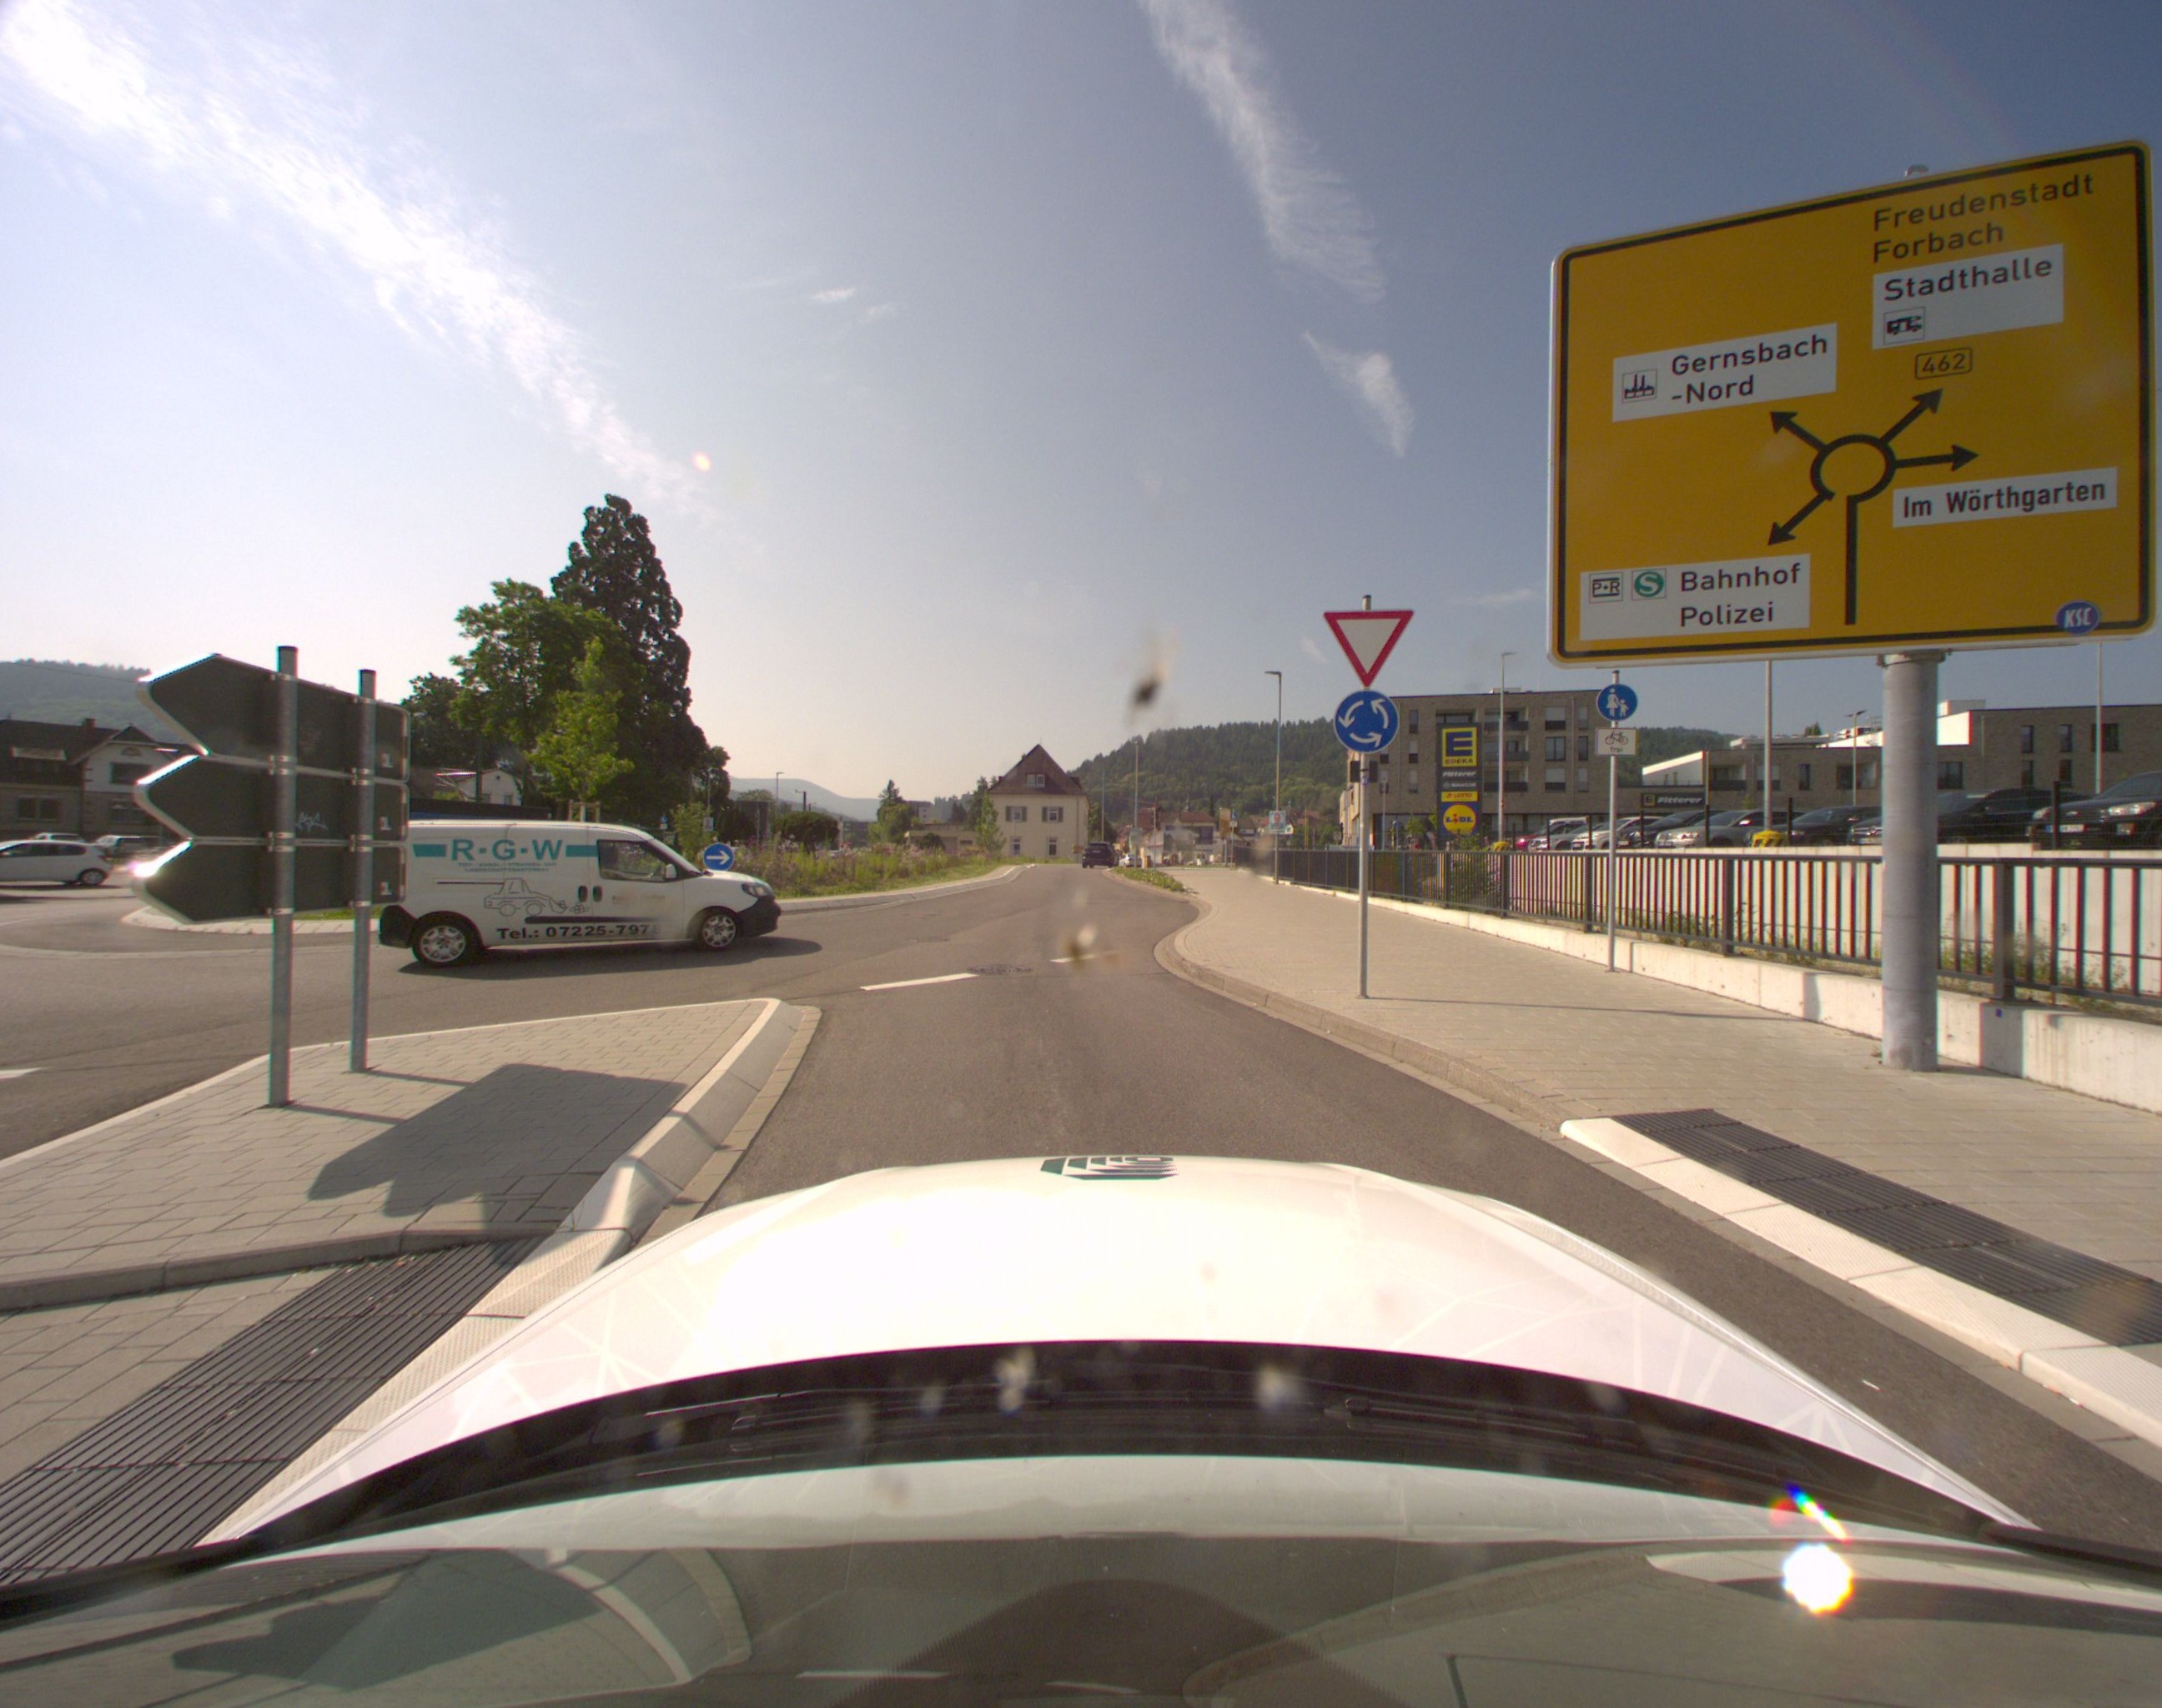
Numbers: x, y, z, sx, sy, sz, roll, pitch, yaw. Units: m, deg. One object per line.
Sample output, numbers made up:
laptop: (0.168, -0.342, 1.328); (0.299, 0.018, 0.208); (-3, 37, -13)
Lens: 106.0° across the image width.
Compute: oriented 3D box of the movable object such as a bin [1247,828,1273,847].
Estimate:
movable object such as a bin: (17.444, -1.587, 79.344); (2.428, 1.844, 1.432); (0, -1, 10)

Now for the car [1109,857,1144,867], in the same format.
car: (4.321, 0.765, 77.657); (1.357, 0.964, 3.239); (1, -1, -43)

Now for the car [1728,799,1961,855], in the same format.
car: (18.180, -0.616, 19.518); (3.952, 1.245, 1.730); (1, 0, 1)

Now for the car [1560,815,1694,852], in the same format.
car: (18.938, -0.693, 28.357); (3.542, 1.199, 1.715); (1, 0, 2)

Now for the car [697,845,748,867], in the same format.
car: (-20.248, 0.100, 46.129); (1.383, 1.172, 3.244); (1, 0, 1)

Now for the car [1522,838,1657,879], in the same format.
car: (19.310, 0.165, 31.039); (4.038, 1.487, 1.719); (1, 0, 4)

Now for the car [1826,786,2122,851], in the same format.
car: (18.302, -0.701, 16.836); (4.198, 1.245, 1.744); (1, 0, 1)

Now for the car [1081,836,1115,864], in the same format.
car: (1.087, -0.222, 50.479); (1.872, 1.684, 4.005); (0, -1, 5)

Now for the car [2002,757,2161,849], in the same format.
car: (18.281, -0.790, 13.536); (3.990, 1.404, 1.725); (1, 0, 1)

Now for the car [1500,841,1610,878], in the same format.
car: (19.478, 0.214, 33.586); (3.542, 1.430, 1.711); (1, 0, 2)

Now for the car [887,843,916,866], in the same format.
car: (-16.051, 0.036, 73.007); (1.804, 2.013, 3.999); (0, 0, -1)

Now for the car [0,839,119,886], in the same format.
car: (-33.827, 0.271, 26.093); (1.376, 1.450, 3.555); (1, -2, 21)

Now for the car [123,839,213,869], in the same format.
car: (-42.485, -0.021, 37.920); (3.555, 1.326, 1.423); (1, 0, 17)

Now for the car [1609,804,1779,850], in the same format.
car: (18.905, -0.812, 25.239); (4.021, 1.342, 1.661); (1, 0, 2)

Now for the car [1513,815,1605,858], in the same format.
car: (25.190, -0.901, 43.044); (3.952, 2.136, 2.011); (0, -1, 23)

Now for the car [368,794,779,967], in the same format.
car: (-6.776, 0.266, 11.525); (4.610, 2.077, 1.798); (0, 3, -24)

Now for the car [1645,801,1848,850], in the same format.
car: (18.365, -0.773, 22.614); (4.263, 1.245, 1.665); (1, 0, 1)
